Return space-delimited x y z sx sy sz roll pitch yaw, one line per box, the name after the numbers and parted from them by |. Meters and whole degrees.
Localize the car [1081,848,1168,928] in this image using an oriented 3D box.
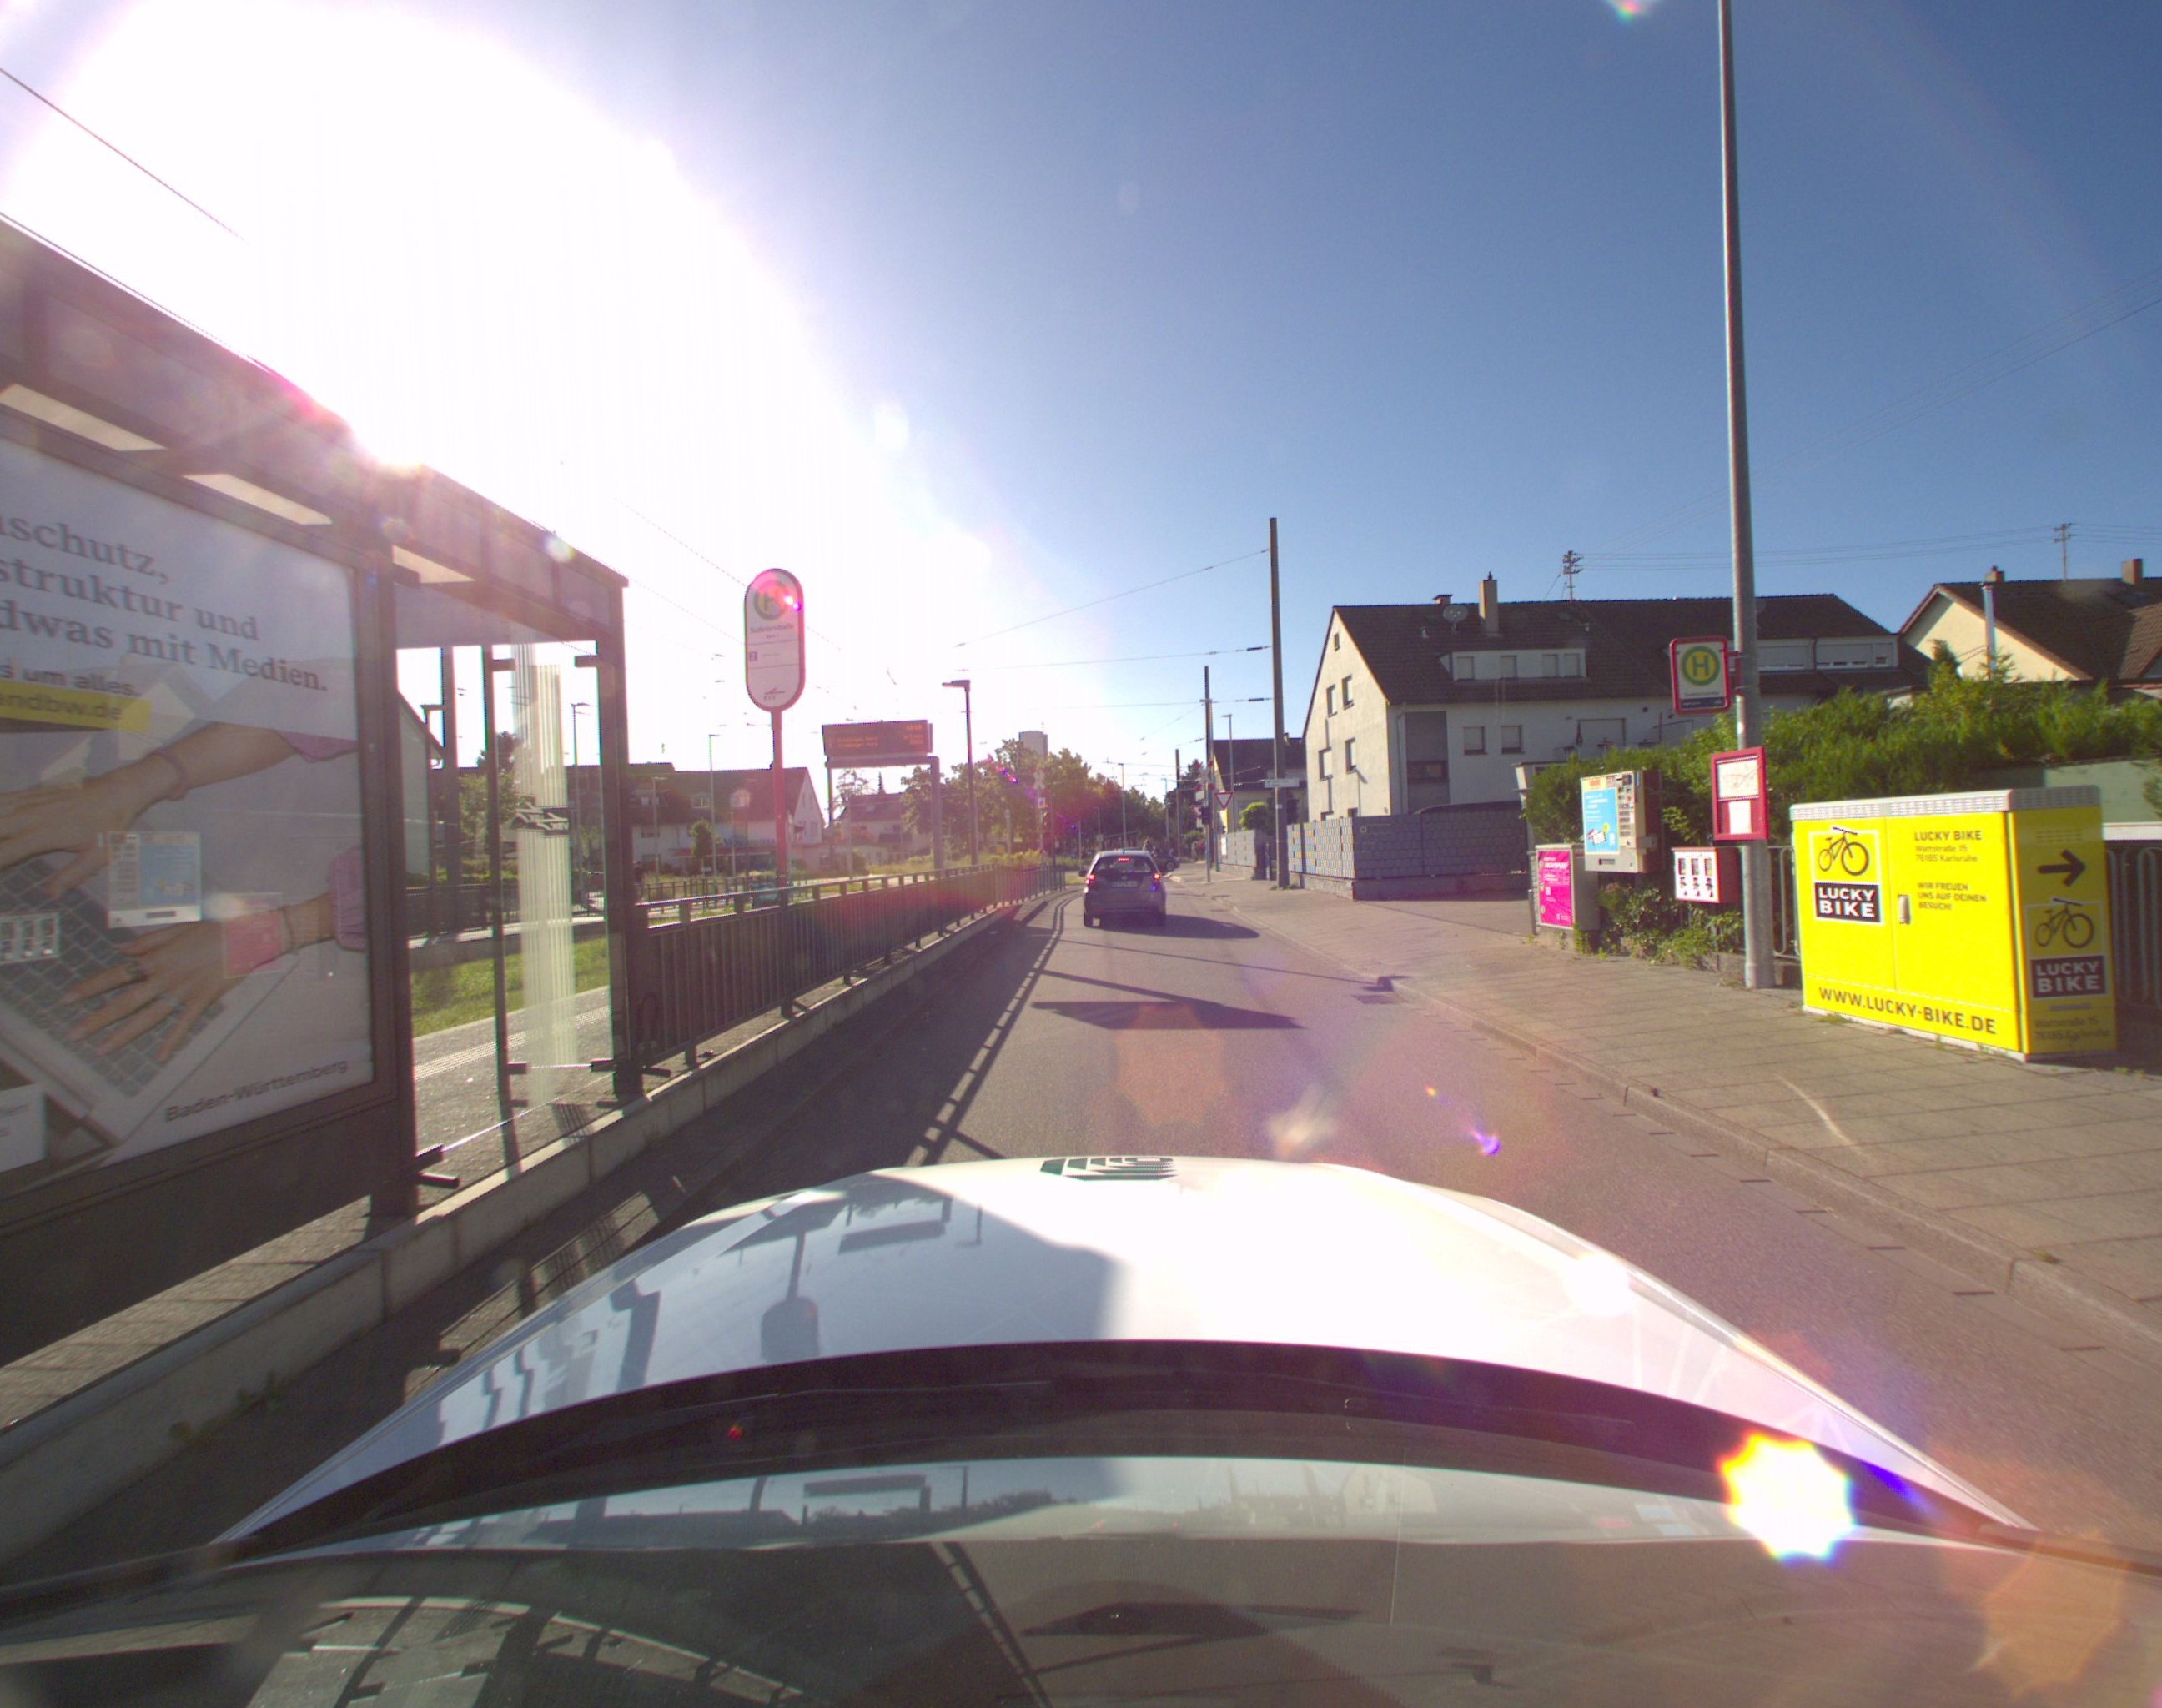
0.876 0.657 17.528 1.664 1.535 3.488 -1 0 1 | car

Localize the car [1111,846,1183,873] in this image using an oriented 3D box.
3.979 0.338 49.323 3.997 1.529 1.797 -1 -1 -18 | car

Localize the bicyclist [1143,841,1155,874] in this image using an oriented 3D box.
3.487 0.190 41.893 0.596 1.701 0.684 -1 -1 2 | bicyclist

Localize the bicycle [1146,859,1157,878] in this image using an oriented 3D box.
3.640 0.737 42.082 0.473 0.961 1.658 -1 0 2 | bicycle

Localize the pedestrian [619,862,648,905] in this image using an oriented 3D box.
-18.921 1.247 34.458 0.726 1.762 0.772 -2 0 0 | pedestrian

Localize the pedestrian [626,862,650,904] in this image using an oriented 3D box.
-19.219 1.250 35.315 0.591 1.732 0.689 -2 0 0 | pedestrian
